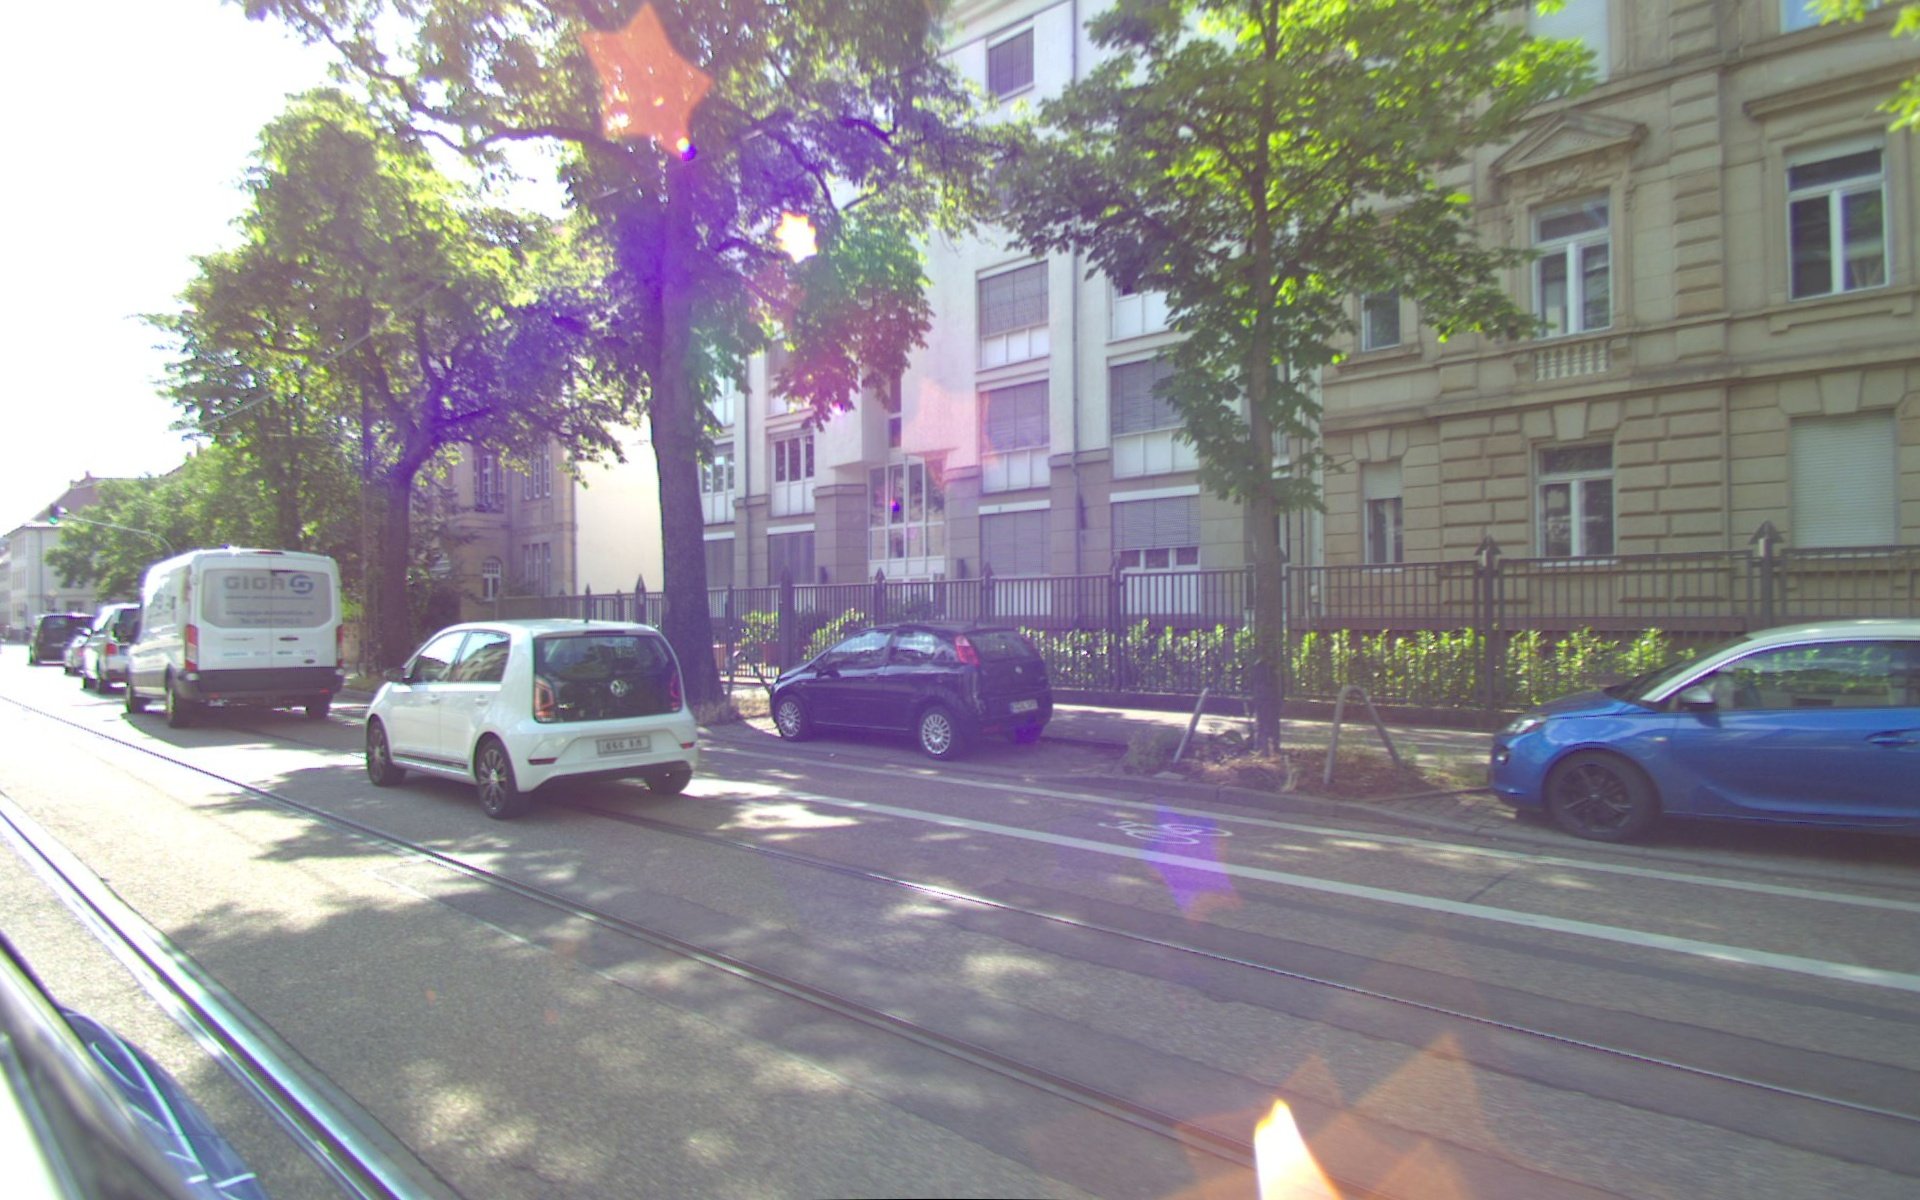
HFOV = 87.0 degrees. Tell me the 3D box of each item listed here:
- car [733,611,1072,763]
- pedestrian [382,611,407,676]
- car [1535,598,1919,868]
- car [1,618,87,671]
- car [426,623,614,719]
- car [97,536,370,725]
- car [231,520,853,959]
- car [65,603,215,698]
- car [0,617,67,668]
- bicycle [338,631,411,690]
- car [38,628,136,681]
[{"bbox_3d":[-0.839,0.968,12.366,4.203,1.483,1.609,-3,0,42],"label":"car"},{"bbox_3d":[-18.068,1.369,32.348,0.477,2.029,0.808,-2,1,-17],"label":"pedestrian"},{"bbox_3d":[5.980,0.761,6.431,3.806,1.496,1.638,-1,1,40],"label":"car"},{"bbox_3d":[-36.101,1.732,39.834,5.122,1.932,1.906,-1,-4,42],"label":"car"},{"bbox_3d":[-8.249,1.224,18.815,4.082,1.530,1.533,-1,1,40],"label":"car"},{"bbox_3d":[-12.060,0.517,16.561,6.361,2.526,2.291,-3,-2,42],"label":"car"},{"bbox_3d":[-3.982,0.873,8.774,6.357,2.526,2.293,-2,-1,40],"label":"car"},{"bbox_3d":[-19.122,1.150,23.504,5.179,1.978,1.964,-2,-3,43],"label":"car"},{"bbox_3d":[-41.882,1.863,45.563,5.087,2.010,1.972,1,1,42],"label":"car"},{"bbox_3d":[-14.534,1.475,25.175,0.612,1.319,2.057,-2,1,-1],"label":"bicycle"},{"bbox_3d":[-27.959,1.717,32.361,4.479,1.491,1.675,0,-2,41],"label":"car"}]
